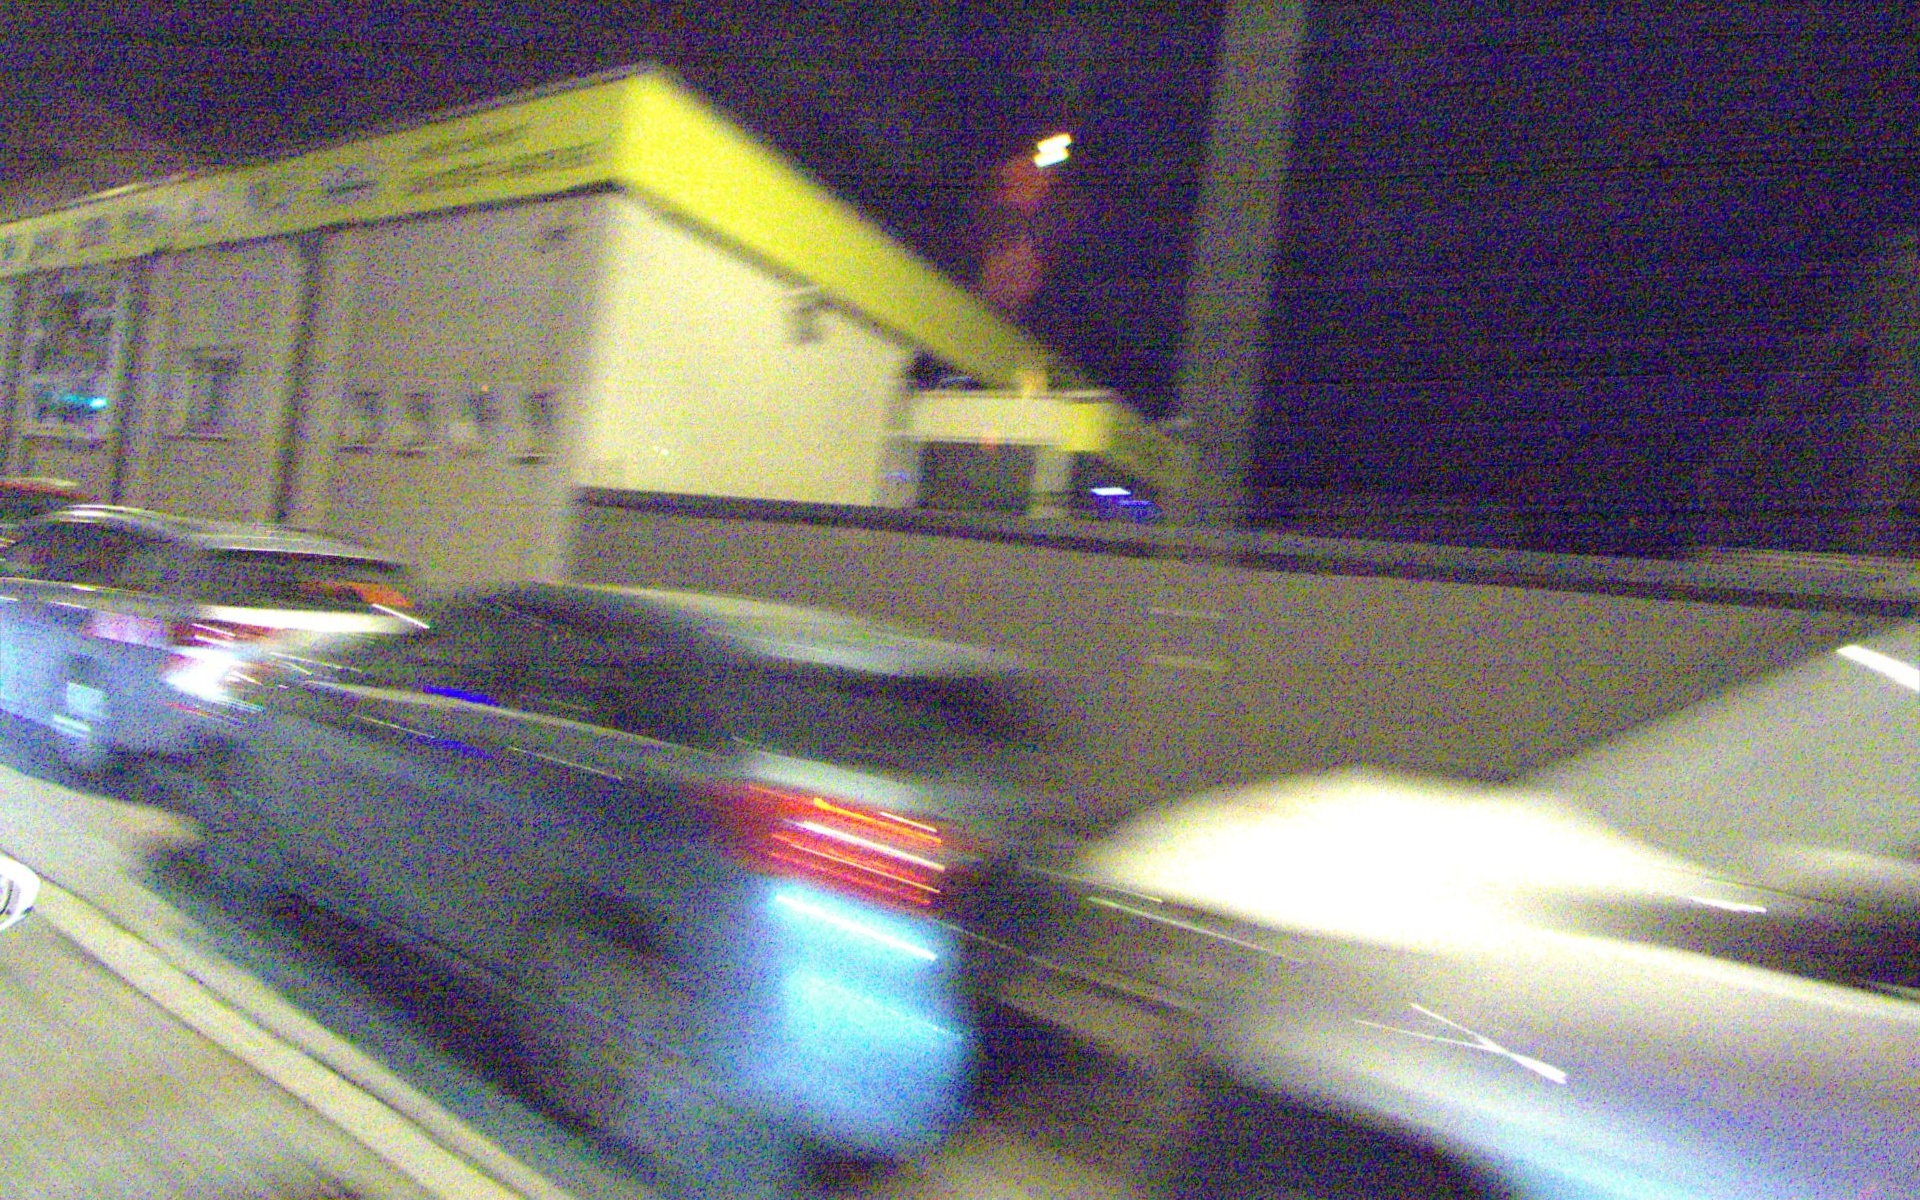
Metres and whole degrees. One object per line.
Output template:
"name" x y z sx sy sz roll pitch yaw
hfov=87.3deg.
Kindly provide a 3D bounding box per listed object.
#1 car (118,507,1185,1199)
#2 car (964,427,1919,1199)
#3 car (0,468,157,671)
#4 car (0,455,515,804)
"car" -1.459 0.560 4.025 4.122 1.445 1.817 7 0 34
"car" 2.526 0.857 1.688 4.694 1.899 1.802 7 1 32
"car" -9.630 -0.456 9.356 4.382 1.643 1.826 7 0 30
"car" -5.300 0.006 6.729 4.550 1.608 1.826 7 0 30
